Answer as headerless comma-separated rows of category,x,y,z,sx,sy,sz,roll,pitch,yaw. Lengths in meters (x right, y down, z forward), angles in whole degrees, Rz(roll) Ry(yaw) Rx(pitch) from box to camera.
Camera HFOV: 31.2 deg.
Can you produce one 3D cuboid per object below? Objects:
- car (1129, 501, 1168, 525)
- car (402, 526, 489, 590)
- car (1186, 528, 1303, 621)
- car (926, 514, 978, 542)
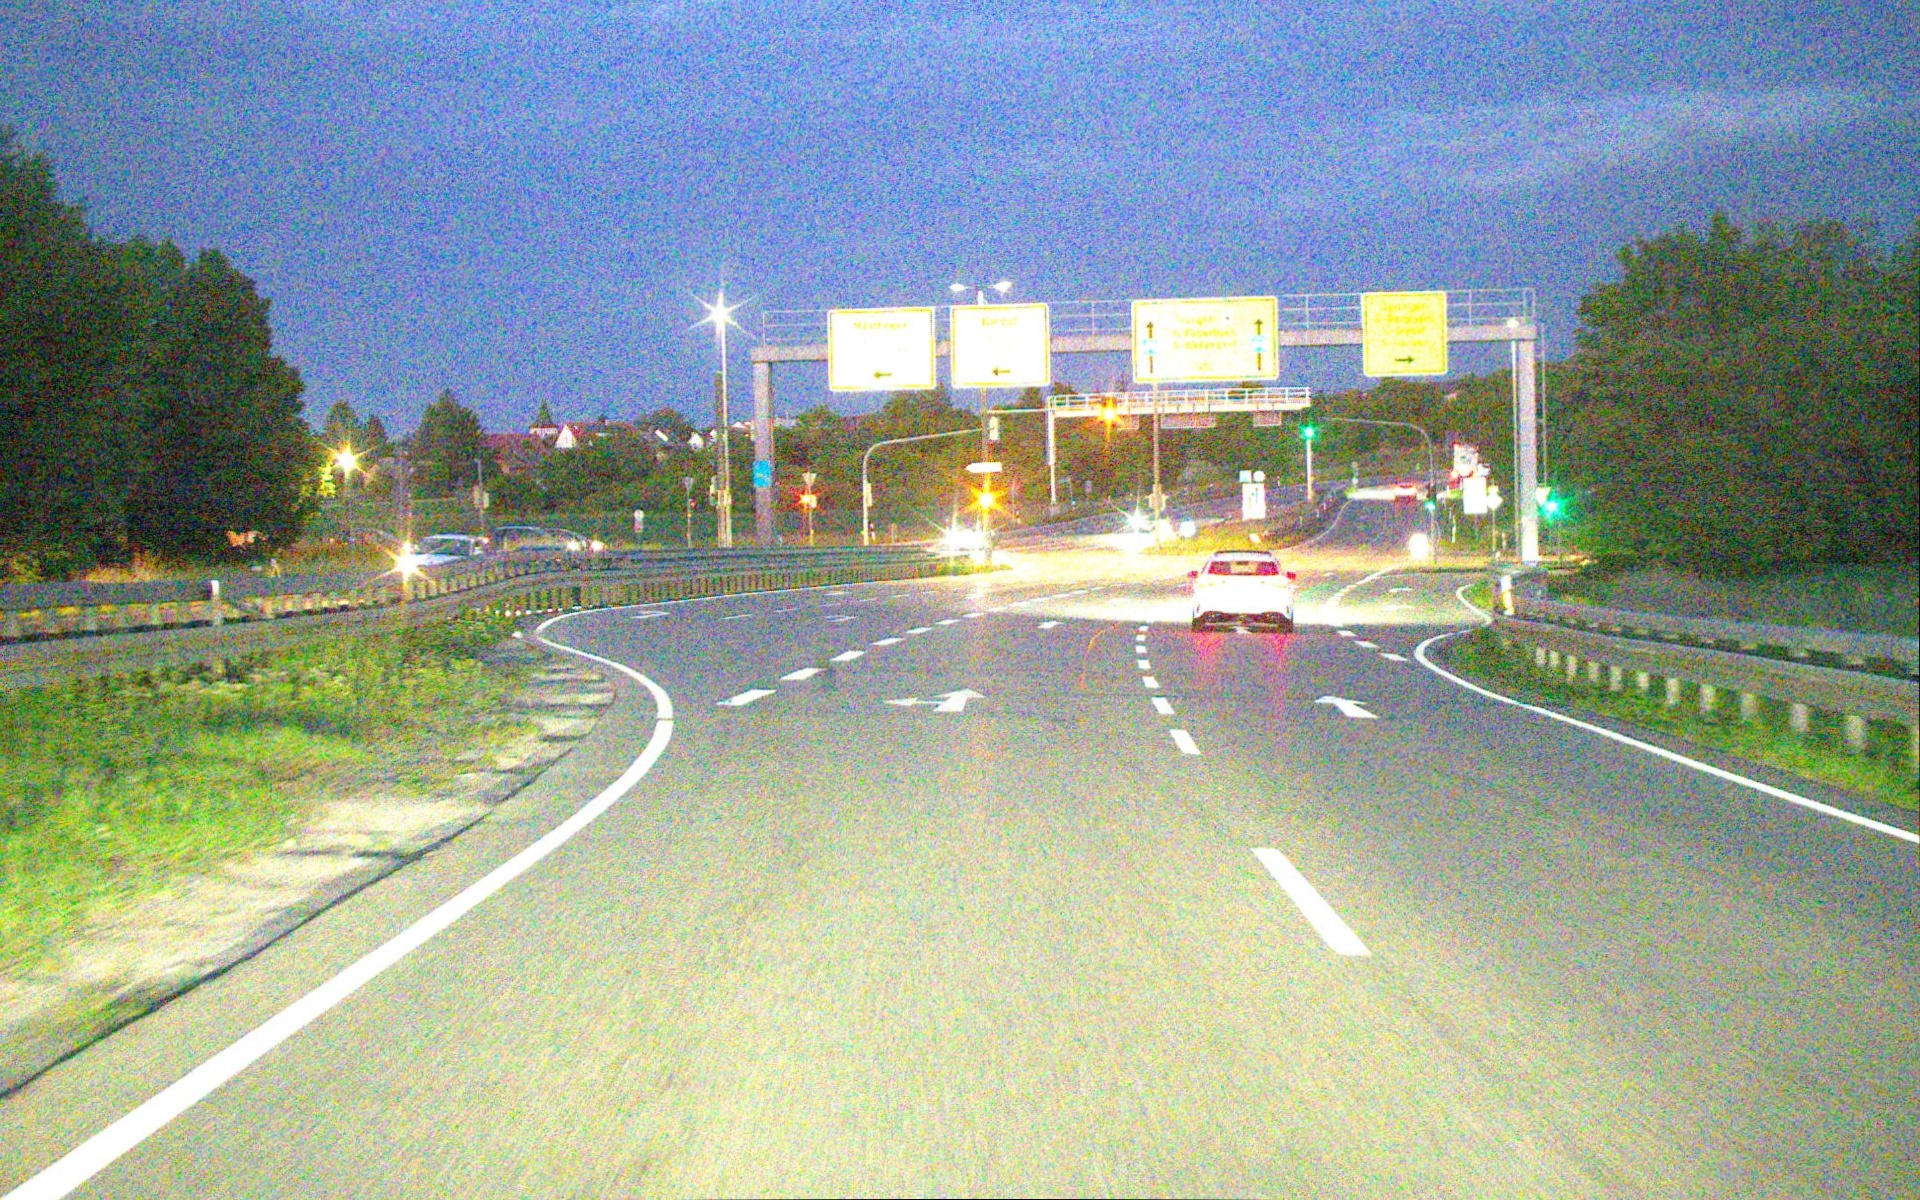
car,12.150,-5.611,221.178,1.994,1.476,4.681,0,2,9
car,-13.400,-1.121,89.676,1.701,1.617,4.307,0,1,-1
car,5.091,-0.486,61.904,2.008,1.605,3.845,0,1,3
car,-0.390,-3.754,179.265,1.994,1.420,4.531,0,2,9
